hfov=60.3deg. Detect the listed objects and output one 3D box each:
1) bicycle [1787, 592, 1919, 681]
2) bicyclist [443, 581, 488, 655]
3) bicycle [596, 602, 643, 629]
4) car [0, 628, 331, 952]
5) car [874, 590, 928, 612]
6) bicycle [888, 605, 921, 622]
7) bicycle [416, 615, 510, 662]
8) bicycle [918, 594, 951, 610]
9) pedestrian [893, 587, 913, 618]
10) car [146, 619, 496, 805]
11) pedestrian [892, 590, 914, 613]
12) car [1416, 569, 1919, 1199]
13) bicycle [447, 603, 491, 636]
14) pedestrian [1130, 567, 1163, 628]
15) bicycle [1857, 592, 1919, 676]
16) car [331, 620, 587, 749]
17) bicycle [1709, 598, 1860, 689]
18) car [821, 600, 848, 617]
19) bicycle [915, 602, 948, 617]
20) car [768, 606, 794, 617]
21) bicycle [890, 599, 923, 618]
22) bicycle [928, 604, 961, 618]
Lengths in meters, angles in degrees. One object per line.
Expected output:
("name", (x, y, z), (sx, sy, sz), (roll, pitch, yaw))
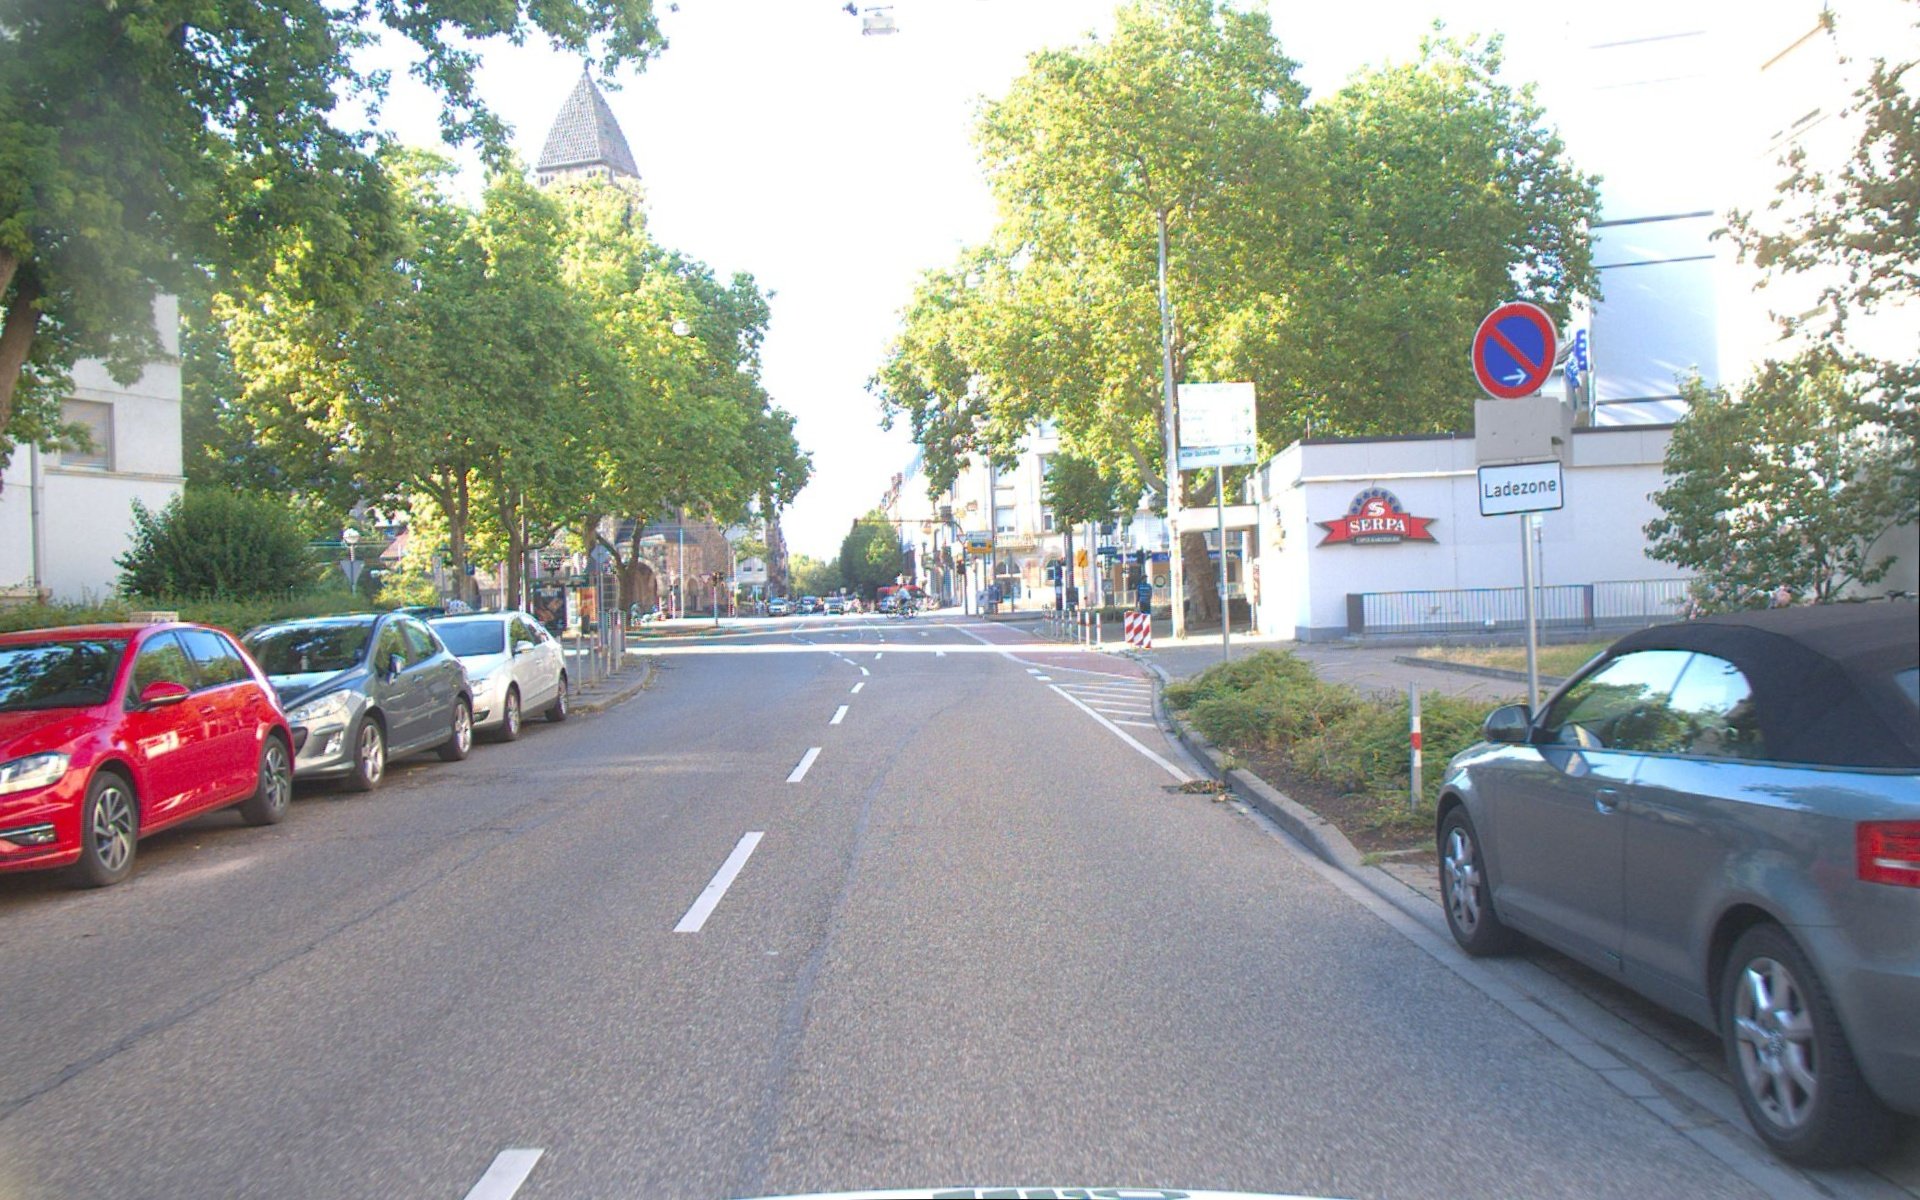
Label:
("bicycle", (10.719, 0.408, 19.646), (0.623, 0.941, 2.229), (0, 2, -1))
("bicyclist", (-13.867, 0.514, 46.413), (0.957, 2.049, 0.795), (-1, -1, 34))
("bicycle", (-21.611, 1.009, 105.078), (2.781, 1.685, 0.831), (0, -1, 7))
("car", (-5.534, 0.980, 10.201), (1.833, 1.586, 3.999), (0, -1, -1))
("car", (-5.663, 0.071, 158.228), (4.957, 2.049, 2.135), (1, -1, -41))
("bicycle", (-3.189, 0.755, 94.864), (1.744, 0.911, 0.751), (-2, 0, 20))
("bicycle", (-13.907, 1.068, 46.370), (0.990, 1.286, 2.476), (-1, -1, 33))
("bicycle", (-2.163, 0.170, 140.234), (2.750, 1.221, 0.510), (0, 15, -8))
("pedestrian", (-3.201, 0.145, 92.494), (0.970, 1.738, 0.628), (0, -1, 21))
("car", (-5.649, 0.914, 15.190), (1.669, 1.465, 4.127), (0, -1, -1))
("pedestrian", (-3.273, 0.103, 94.869), (1.027, 1.300, 0.792), (0, -1, 21))
("car", (3.023, 0.700, 5.741), (1.705, 1.499, 3.999), (0, -1, -1))
("bicycle", (-18.042, 0.710, 60.849), (0.703, 1.165, 3.291), (0, -1, -1))
("pedestrian", (6.460, -0.079, 57.313), (0.810, 2.048, 1.152), (-5, -1, -2))
("bicycle", (11.548, 0.409, 19.557), (0.623, 0.941, 2.229), (0, 2, -1))
("car", (-5.861, 0.928, 19.963), (1.733, 1.376, 4.709), (0, -1, -1))
("bicycle", (9.642, 0.477, 19.437), (0.623, 0.941, 2.229), (0, 2, -1))
("car", (-11.149, 0.743, 146.802), (1.553, 1.488, 3.186), (0, -1, 12))
("bicycle", (-2.358, 0.819, 138.031), (2.750, 1.225, 0.509), (0, -1, -8))
("car", (-18.673, 1.223, 172.577), (1.560, 1.164, 3.386), (0, -1, 14))
("bicycle", (-2.996, 0.481, 92.397), (1.747, 0.999, 0.657), (0, -1, 21))
("bicycle", (-1.344, 0.946, 139.661), (2.750, 1.225, 0.516), (0, -1, -8))
